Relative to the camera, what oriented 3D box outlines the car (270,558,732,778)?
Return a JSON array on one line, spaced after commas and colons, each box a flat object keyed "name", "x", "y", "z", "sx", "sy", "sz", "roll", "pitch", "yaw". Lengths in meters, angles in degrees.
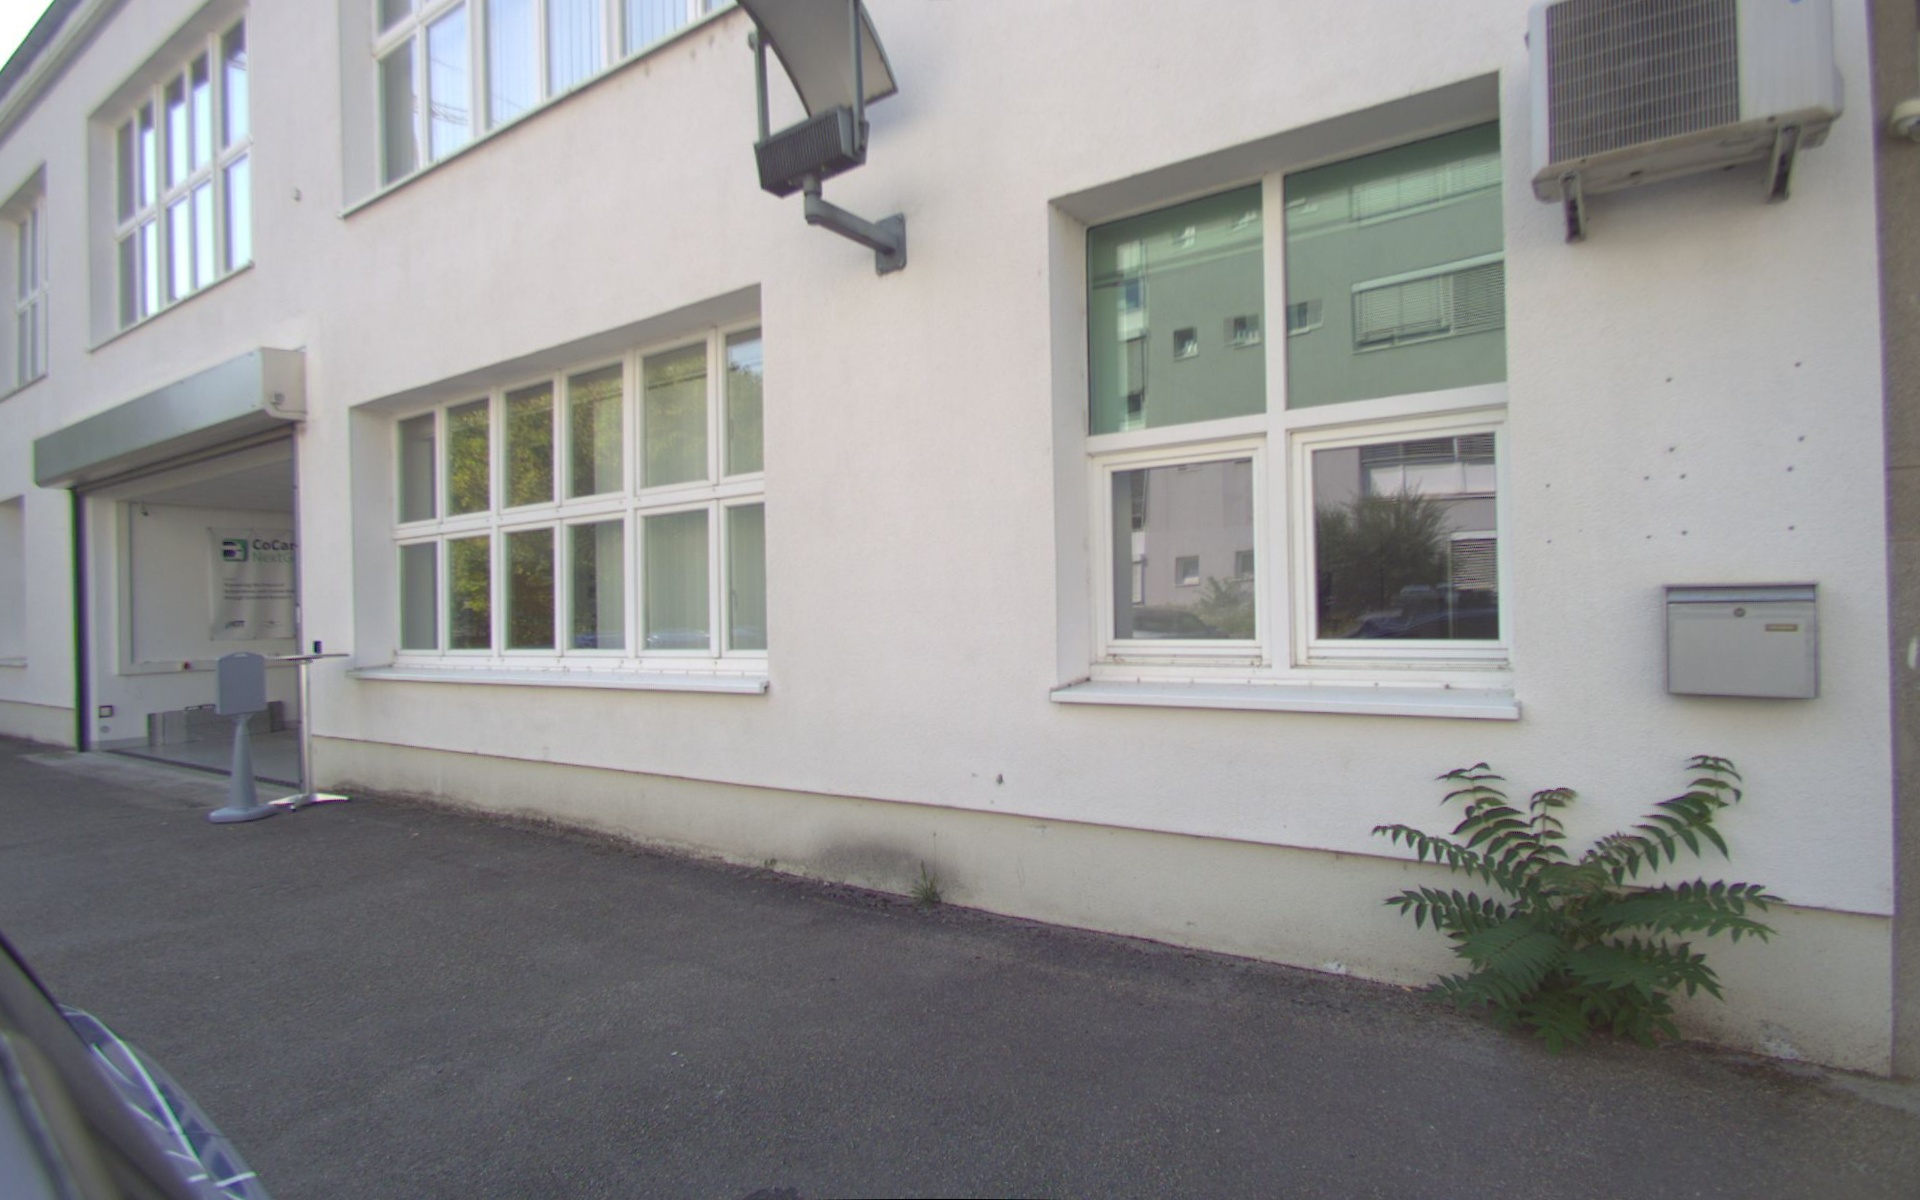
[{"name": "car", "x": -5.259, "y": 0.639, "z": 12.258, "sx": 2.051, "sy": 2.108, "sz": 4.706, "roll": -1, "pitch": 0, "yaw": 35}]
